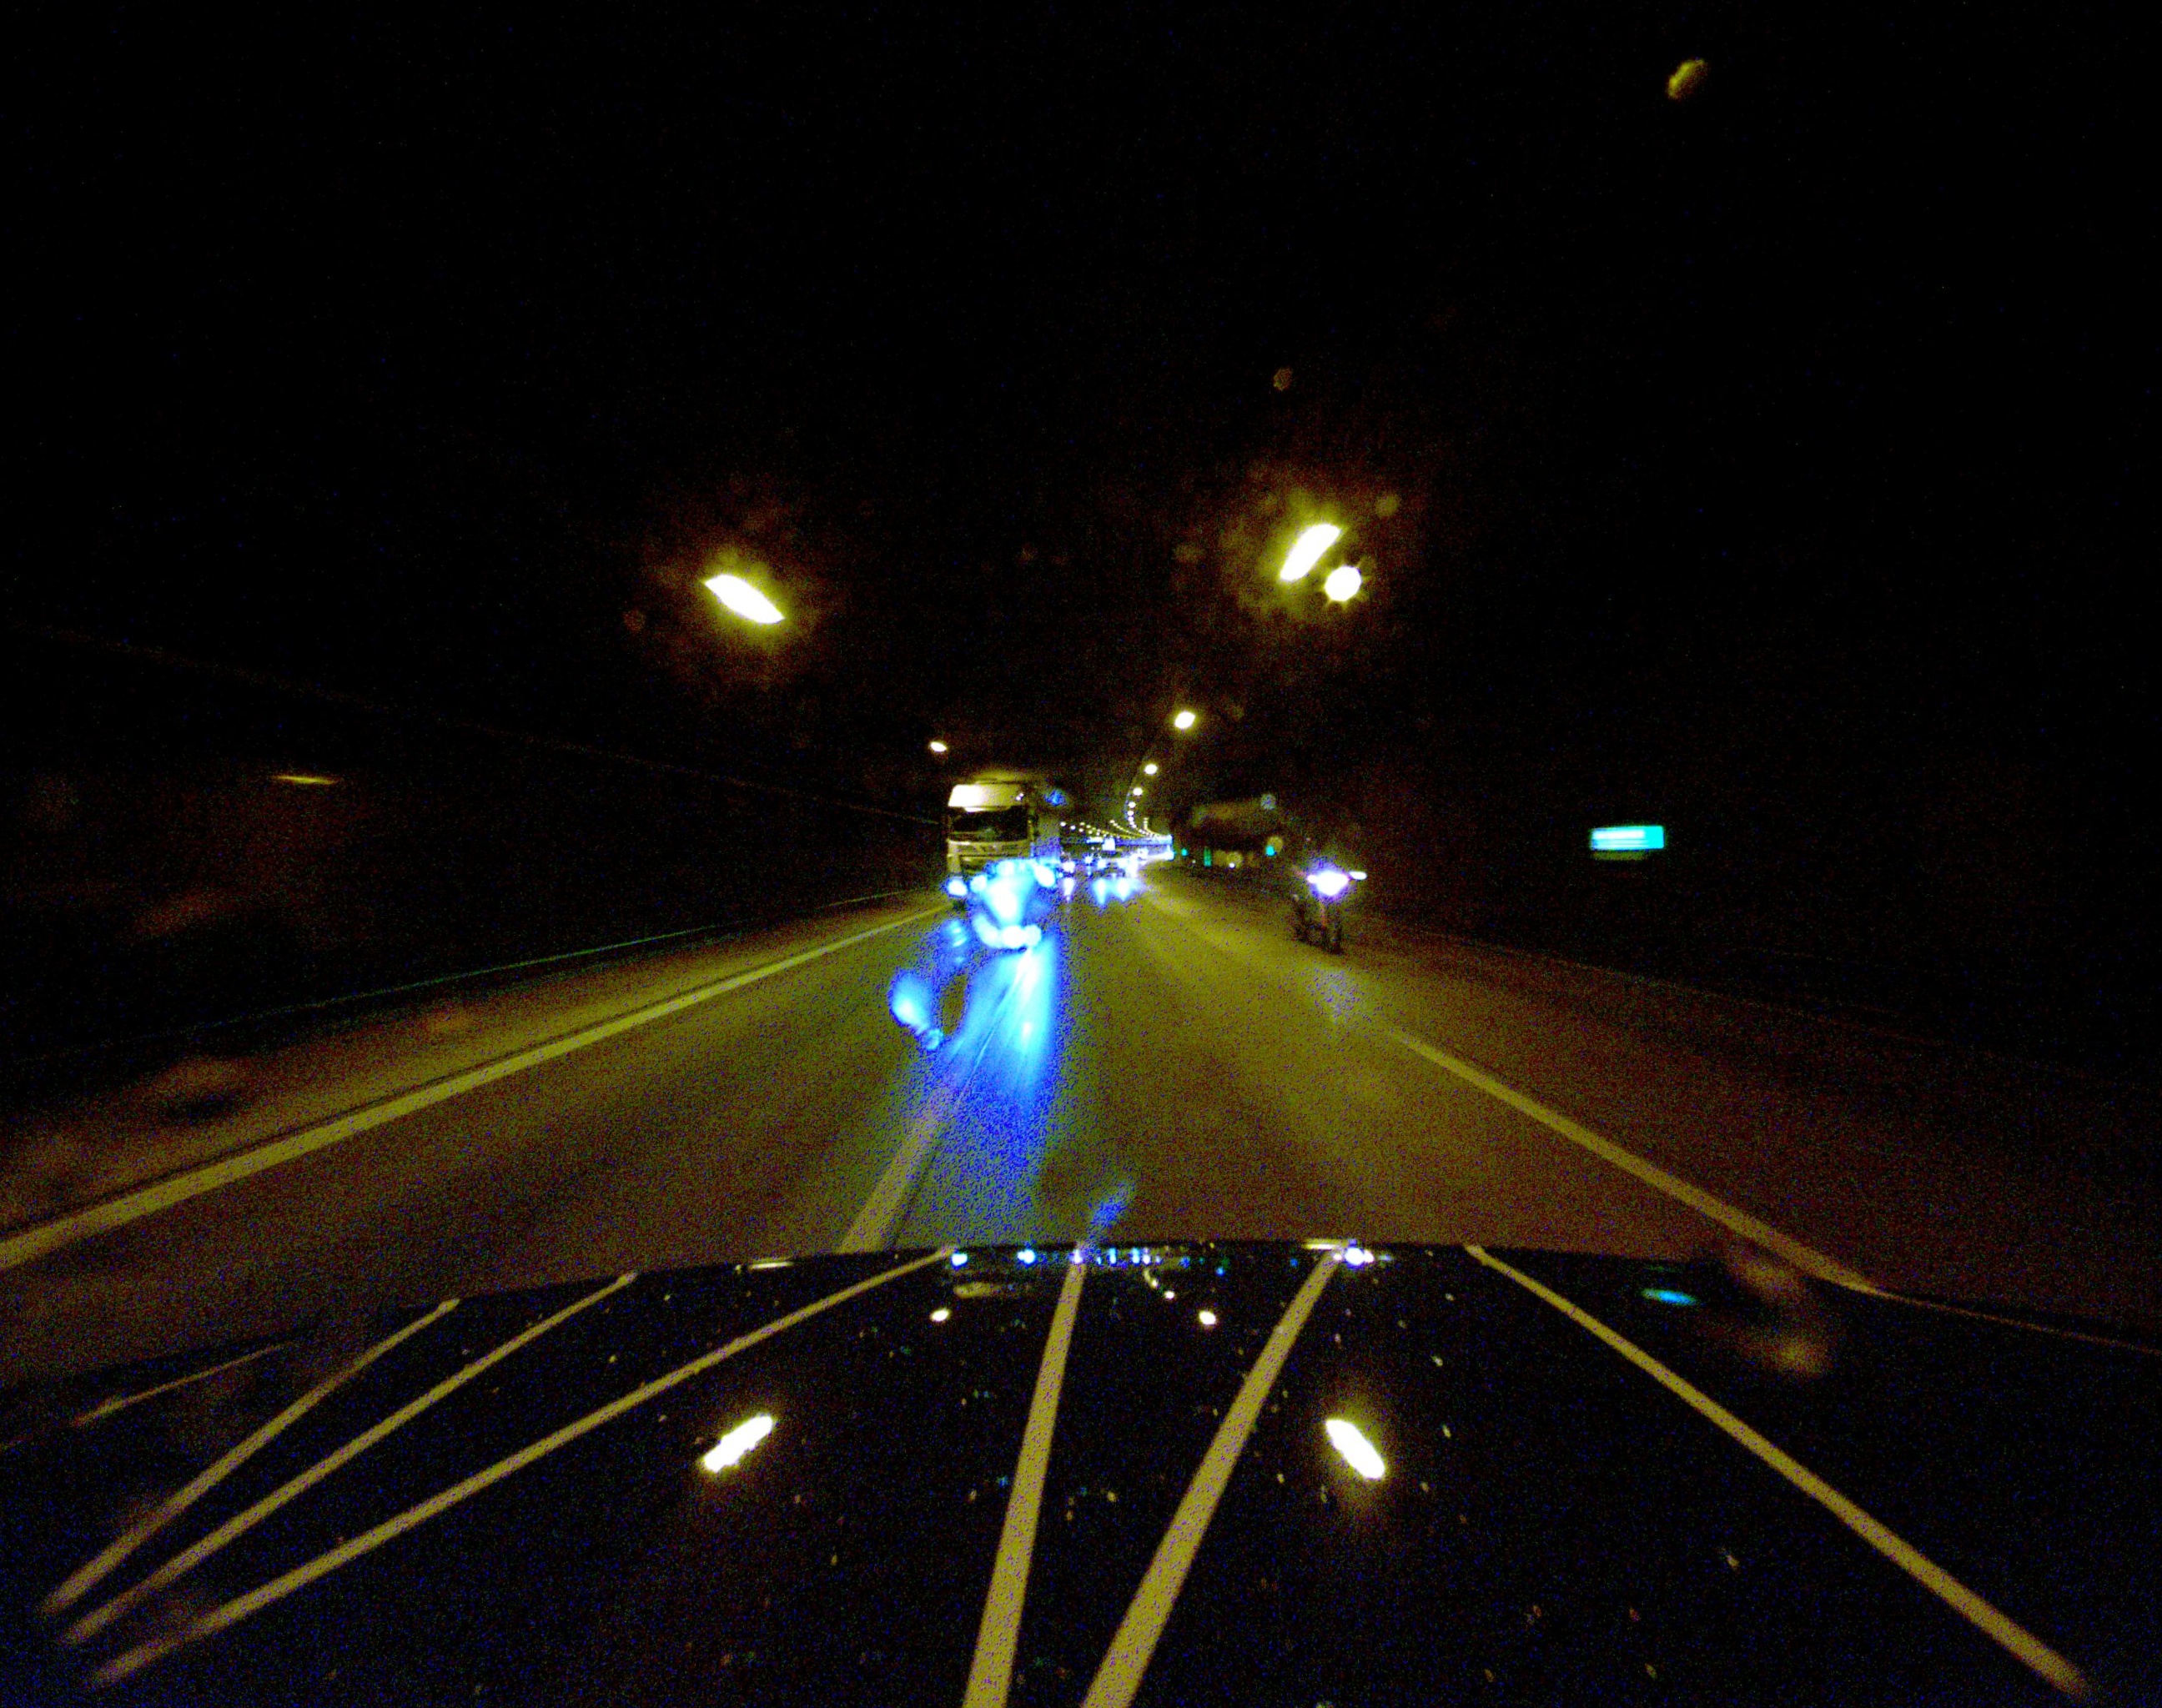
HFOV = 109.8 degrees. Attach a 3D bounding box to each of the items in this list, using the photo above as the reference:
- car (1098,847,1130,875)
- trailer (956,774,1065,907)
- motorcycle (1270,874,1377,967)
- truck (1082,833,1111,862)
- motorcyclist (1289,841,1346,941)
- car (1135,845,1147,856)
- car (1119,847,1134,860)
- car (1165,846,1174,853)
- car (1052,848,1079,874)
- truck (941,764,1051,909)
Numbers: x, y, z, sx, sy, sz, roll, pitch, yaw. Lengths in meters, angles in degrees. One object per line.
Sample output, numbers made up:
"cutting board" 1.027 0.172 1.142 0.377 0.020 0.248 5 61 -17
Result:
"car" 2.401 0.469 56.068 1.999 1.890 3.999 -2 0 -2
"trailer" -2.437 -0.488 31.529 2.627 4.139 14.001 -3 0 1
"motorcycle" 3.624 0.951 11.639 1.055 1.151 2.428 -2 1 6
"truck" 2.315 -1.010 108.034 2.899 3.819 9.000 -3 1 8
"motorcyclist" 3.649 0.549 11.761 0.628 1.481 0.891 -2 1 5
"car" 11.062 -0.679 140.189 1.997 1.788 4.002 -3 1 8
"car" 6.831 -0.132 113.017 1.998 1.788 4.001 -3 1 5
"car" 25.030 -1.282 215.353 1.997 1.788 4.002 -3 1 11
"car" -1.167 0.514 58.074 1.839 1.849 4.288 -2 1 1
"truck" -2.602 -0.533 25.263 2.653 4.139 6.005 -3 1 1
